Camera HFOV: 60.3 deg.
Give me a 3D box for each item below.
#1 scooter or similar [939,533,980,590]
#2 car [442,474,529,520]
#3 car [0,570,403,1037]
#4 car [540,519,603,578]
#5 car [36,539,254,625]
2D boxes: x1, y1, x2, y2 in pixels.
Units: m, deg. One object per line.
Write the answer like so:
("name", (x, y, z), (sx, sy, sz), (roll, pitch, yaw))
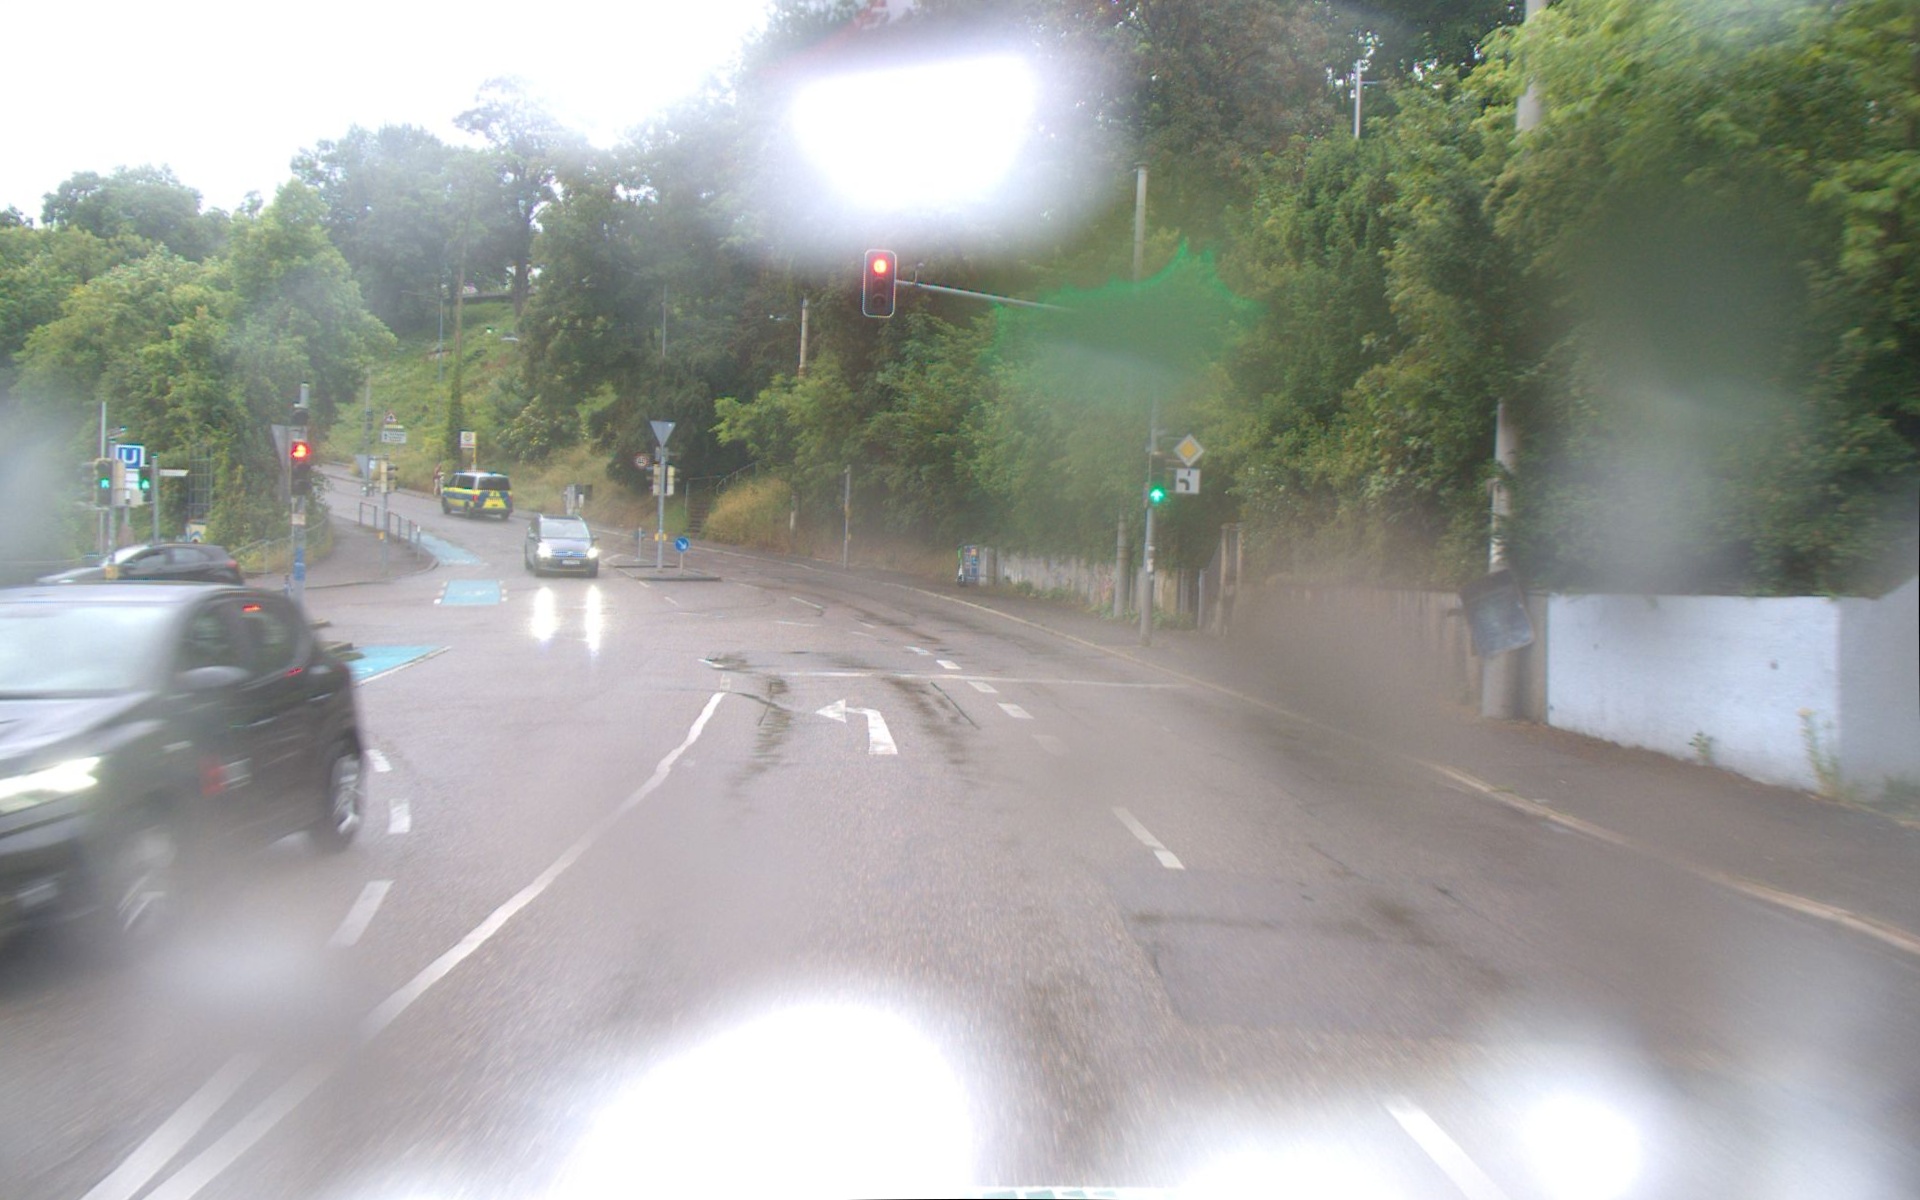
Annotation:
("scooter or similar", (-0.017, -1.113, 46.500), (0.606, 1.446, 2.151), (-1, 5, -15))
("car", (-21.286, -4.605, 74.104), (2.292, 1.972, 4.268), (-4, 5, -37))
("car", (-3.988, 0.671, 7.549), (1.706, 1.577, 3.998), (-1, 1, -3))
("car", (-11.504, -1.562, 48.820), (1.712, 1.576, 3.986), (-2, 4, -14))
("car", (-17.959, -0.449, 36.546), (3.970, 1.576, 1.719), (-5, 8, -44))
